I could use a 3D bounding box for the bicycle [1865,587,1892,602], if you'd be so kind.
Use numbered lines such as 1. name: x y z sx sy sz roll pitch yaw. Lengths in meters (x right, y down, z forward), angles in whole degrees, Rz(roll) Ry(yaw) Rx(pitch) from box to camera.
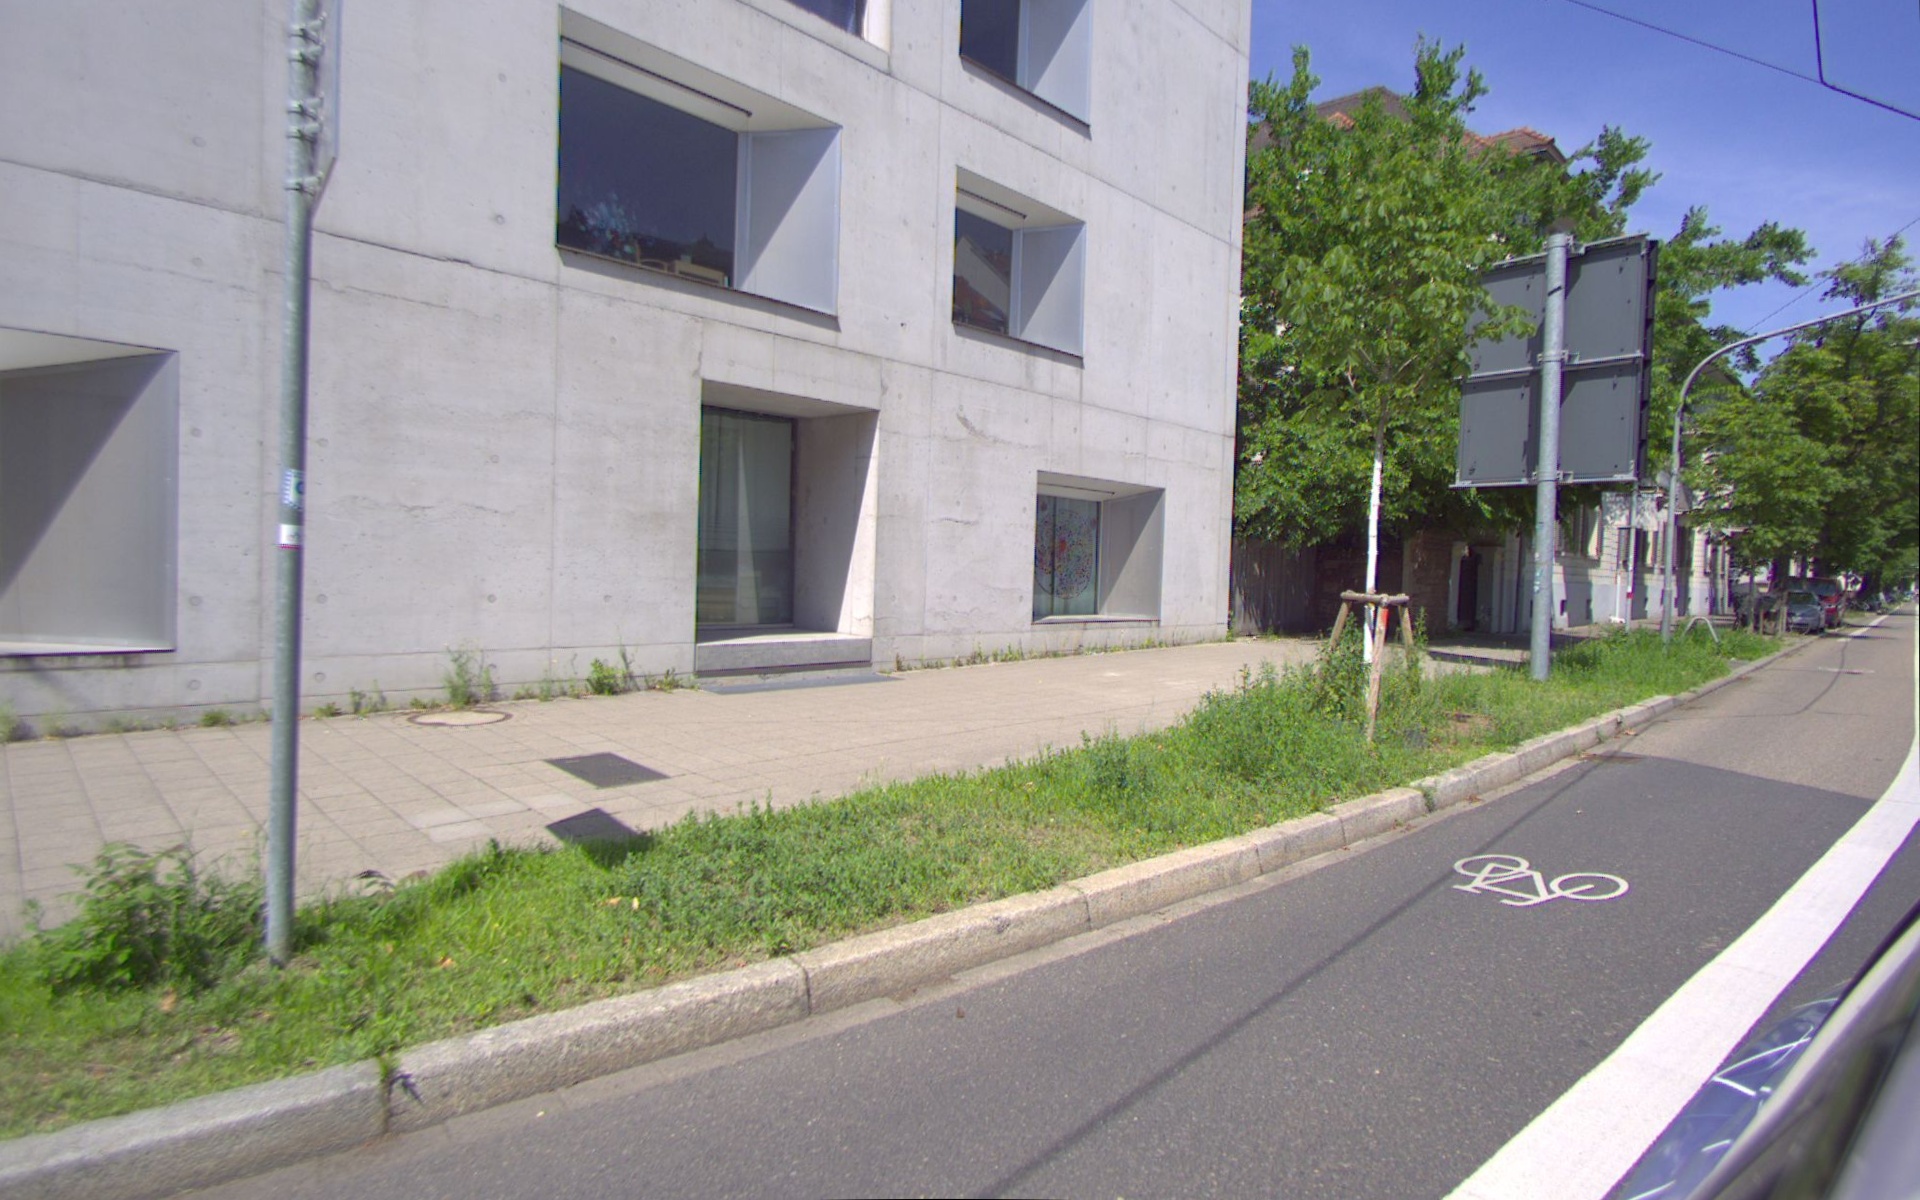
1. bicycle: 77.897 -0.454 85.818 0.300 1.215 1.620 -2 3 -44

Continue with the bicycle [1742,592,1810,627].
1. bicycle: 26.308 0.302 32.635 0.365 1.028 1.659 0 2 -44

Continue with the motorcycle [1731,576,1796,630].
1. motorcycle: 23.877 0.085 30.051 2.509 1.524 0.748 0 2 -35

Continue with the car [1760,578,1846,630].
1. car: 29.120 0.072 34.903 1.860 1.596 4.800 2 3 44

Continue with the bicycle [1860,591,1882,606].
1. bicycle: 68.302 -0.113 75.905 0.275 1.076 1.169 -1 3 -42

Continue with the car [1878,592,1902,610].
1. car: 87.553 0.043 95.253 1.536 1.563 3.937 2 3 44

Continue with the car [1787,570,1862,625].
1. car: 34.796 -0.181 40.697 4.895 2.038 1.861 -2 3 -45

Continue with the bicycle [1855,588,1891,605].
1. bicycle: 71.793 -0.282 79.578 0.437 1.215 2.041 -1 3 -35

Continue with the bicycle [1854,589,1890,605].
1. bicycle: 71.407 -0.250 79.248 0.437 1.215 2.041 0 2 -35

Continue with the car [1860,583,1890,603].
1. car: 74.588 -0.595 82.495 1.593 1.470 3.574 5 4 44
